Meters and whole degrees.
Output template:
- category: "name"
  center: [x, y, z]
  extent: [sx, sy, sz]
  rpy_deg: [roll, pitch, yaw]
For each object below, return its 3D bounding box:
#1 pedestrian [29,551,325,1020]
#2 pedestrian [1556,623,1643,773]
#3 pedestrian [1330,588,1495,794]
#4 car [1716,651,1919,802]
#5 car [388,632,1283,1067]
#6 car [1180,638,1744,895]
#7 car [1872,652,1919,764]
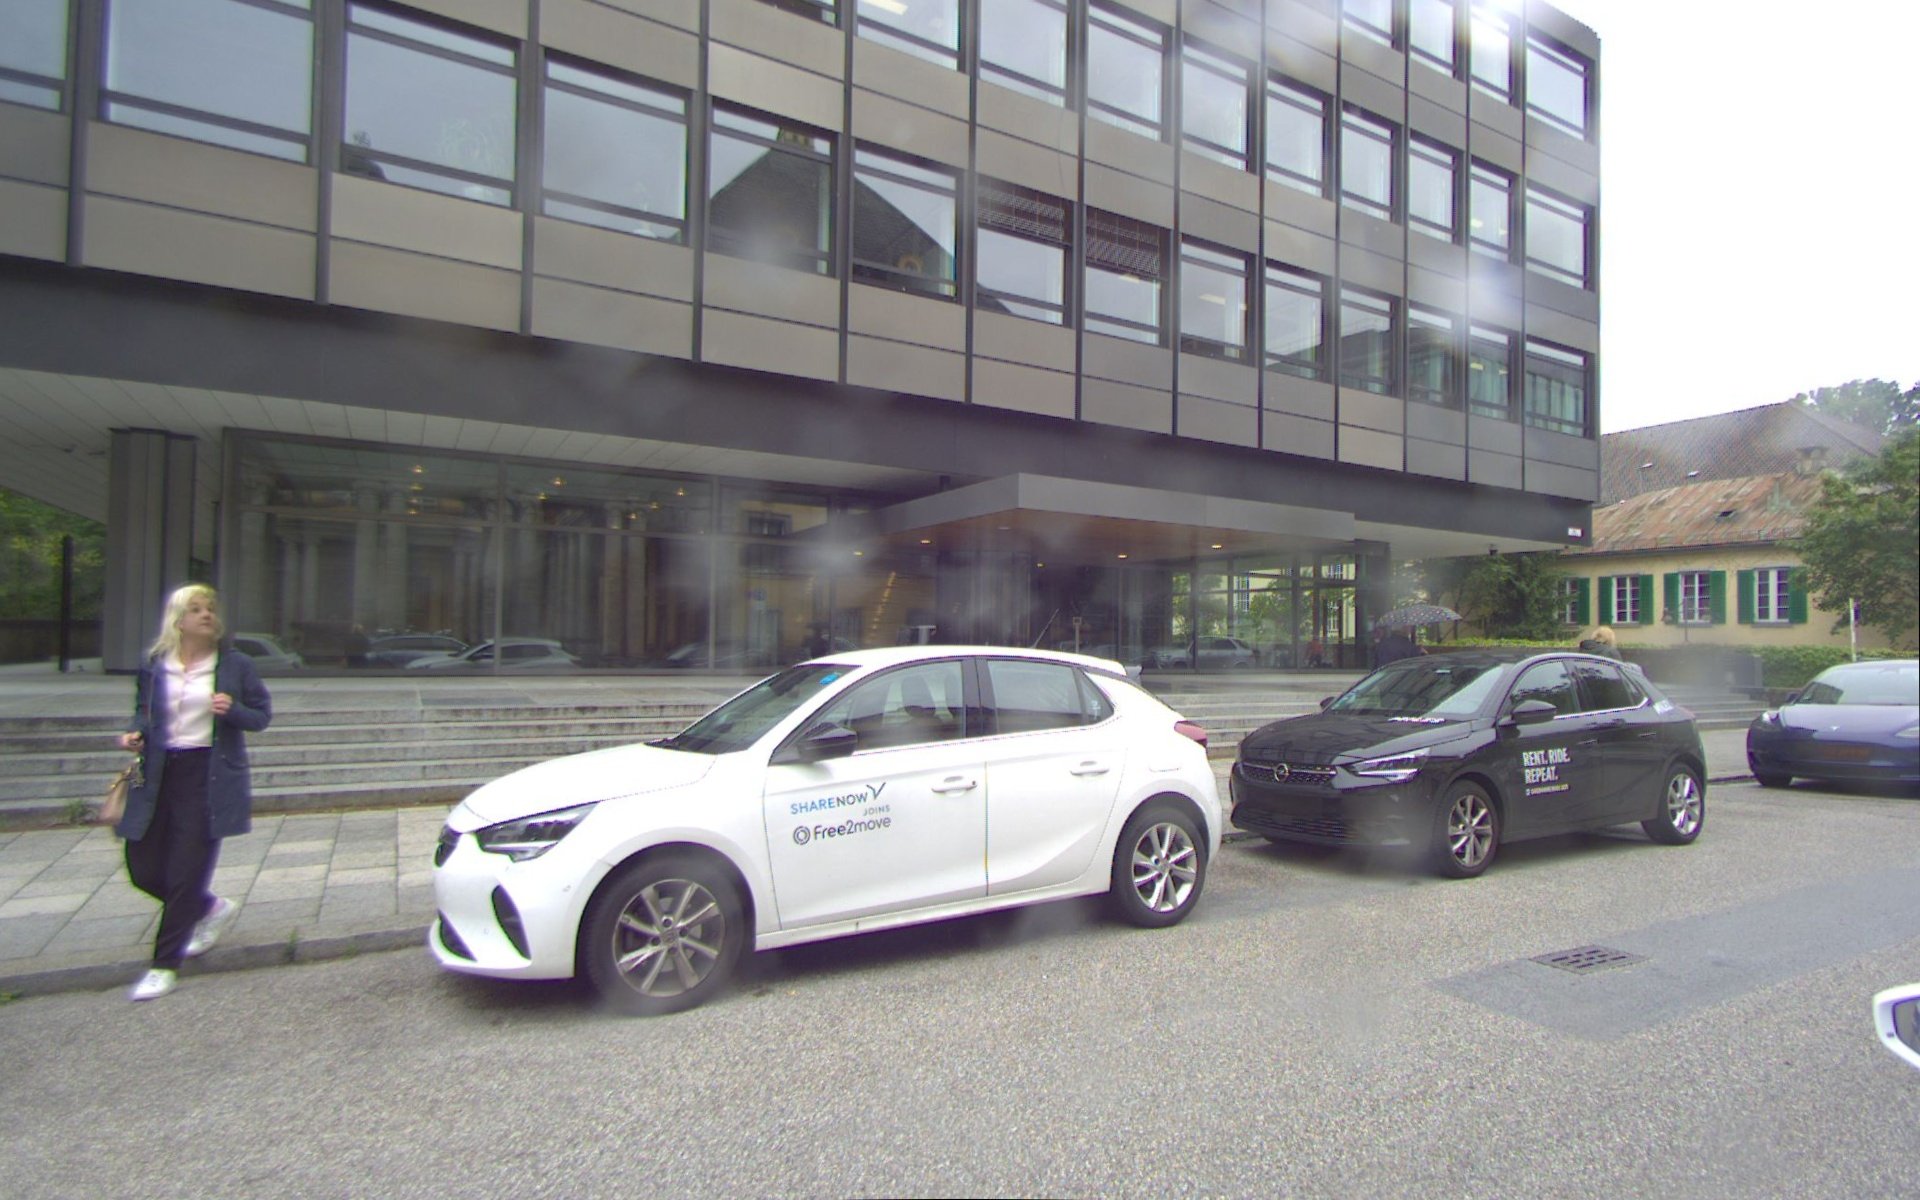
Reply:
- category: "pedestrian"
  center: [-3.313, 0.729, 4.361]
  extent: [0.679, 1.774, 0.890]
  rpy_deg: [0, -4, -16]
- category: "pedestrian"
  center: [7.955, 1.179, 12.490]
  extent: [0.745, 1.772, 0.947]
  rpy_deg: [-1, -2, 44]
- category: "pedestrian"
  center: [4.930, 0.941, 10.969]
  extent: [1.207, 2.082, 1.129]
  rpy_deg: [2, -1, -30]
- category: "car"
  center: [10.998, 1.365, 11.643]
  extent: [4.863, 1.458, 1.913]
  rpy_deg: [3, -5, -32]
- category: "car"
  center: [-0.484, 0.971, 5.195]
  extent: [4.228, 1.458, 1.675]
  rpy_deg: [2, -5, -29]
- category: "car"
  center: [3.861, 1.085, 7.616]
  extent: [4.184, 1.480, 1.733]
  rpy_deg: [2, -5, -29]
- category: "car"
  center: [15.409, 1.523, 14.406]
  extent: [4.824, 1.510, 1.986]
  rpy_deg: [2, -4, -29]
